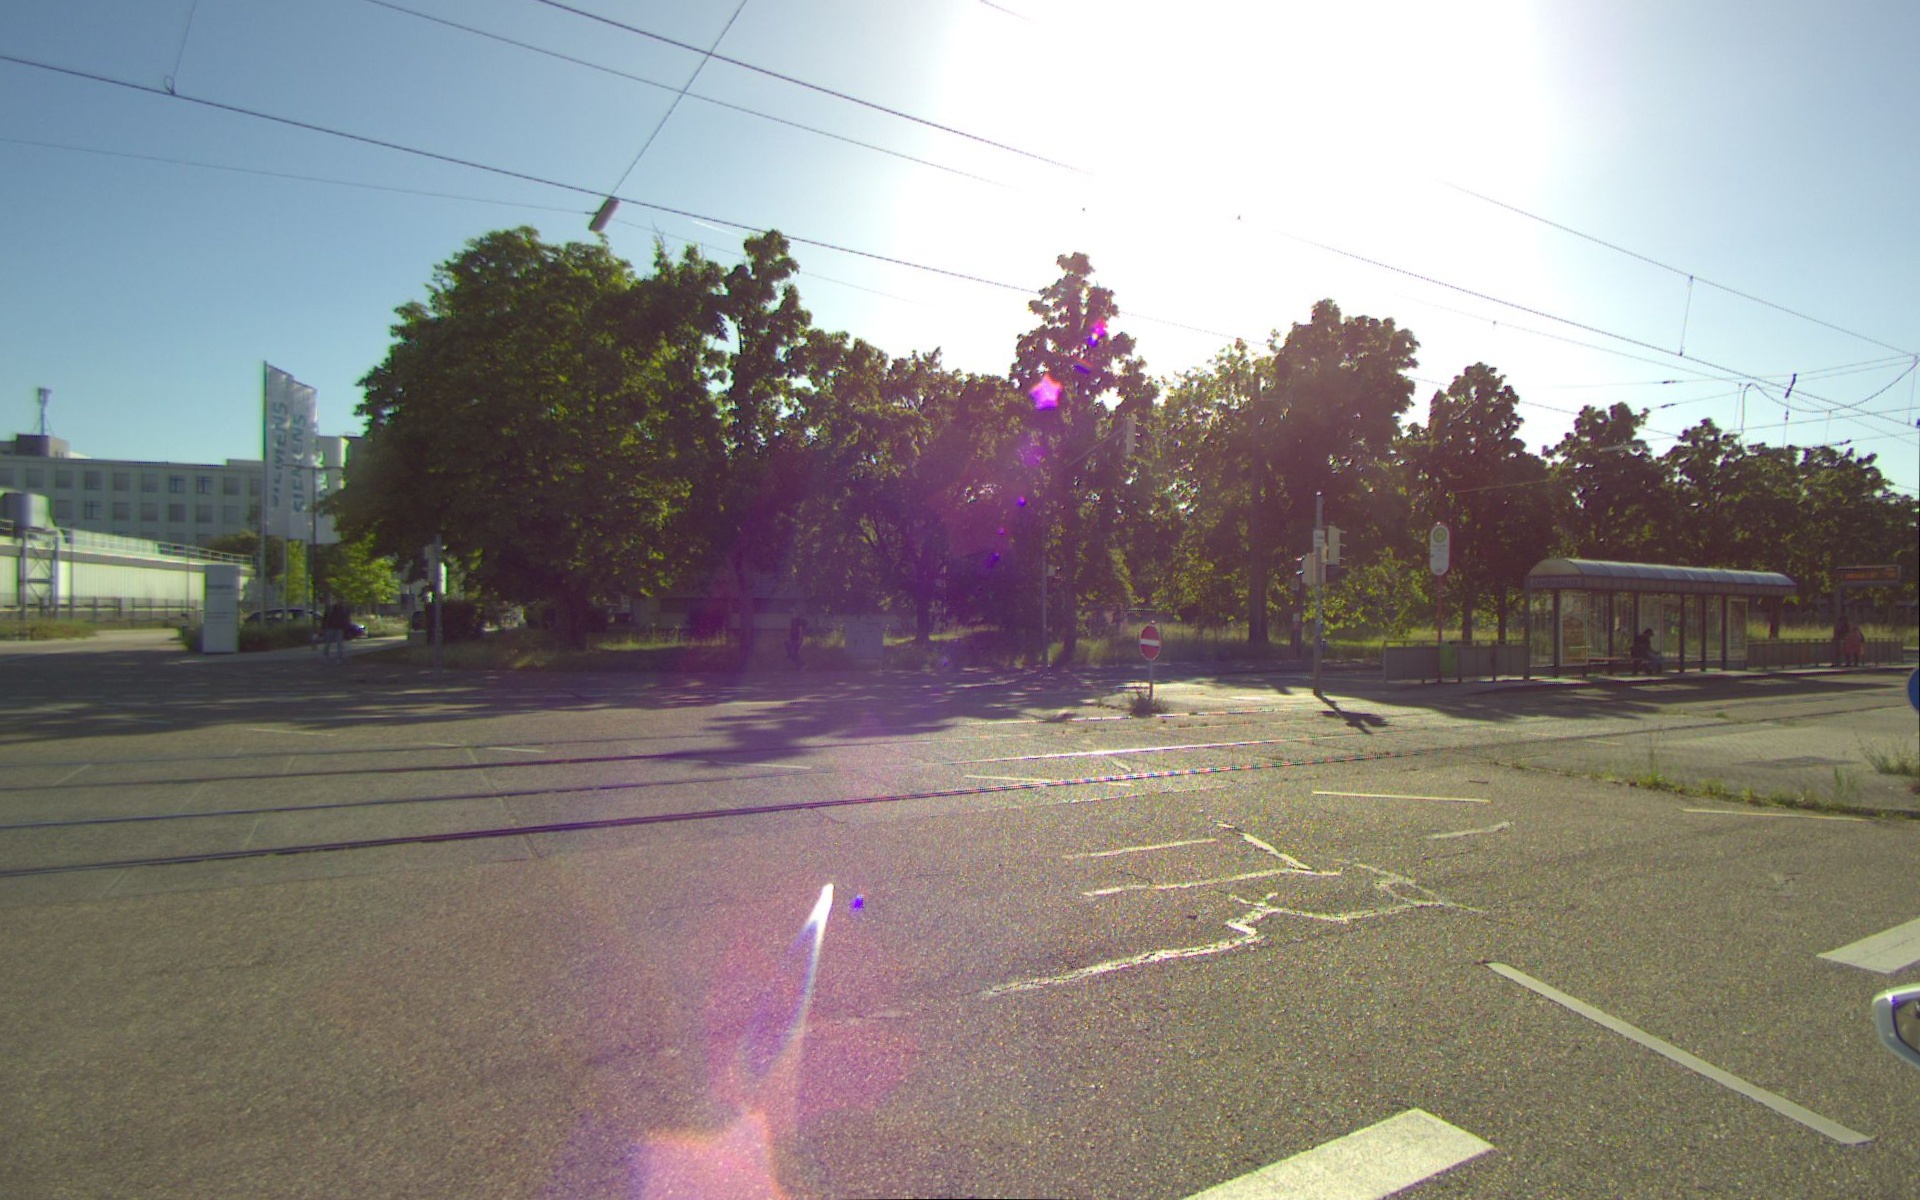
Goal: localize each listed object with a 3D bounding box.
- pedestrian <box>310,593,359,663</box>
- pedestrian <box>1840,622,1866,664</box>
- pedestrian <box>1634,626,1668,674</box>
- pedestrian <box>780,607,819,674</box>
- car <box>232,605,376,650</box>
[{"bbox_3d":[-16.407,0.736,26.365,0.807,1.811,0.950,1,-1,-16],"label":"pedestrian"},{"bbox_3d":[31.123,1.492,35.015,0.553,1.466,0.542,2,-2,-30],"label":"pedestrian"},{"bbox_3d":[18.868,1.367,27.440,0.574,1.273,0.561,2,-3,-31],"label":"pedestrian"},{"bbox_3d":[-4.338,1.086,27.113,0.919,1.757,0.761,1,-1,-2],"label":"pedestrian"},{"bbox_3d":[-28.099,1.182,43.224,4.768,1.751,2.041,2,0,-21],"label":"car"}]
